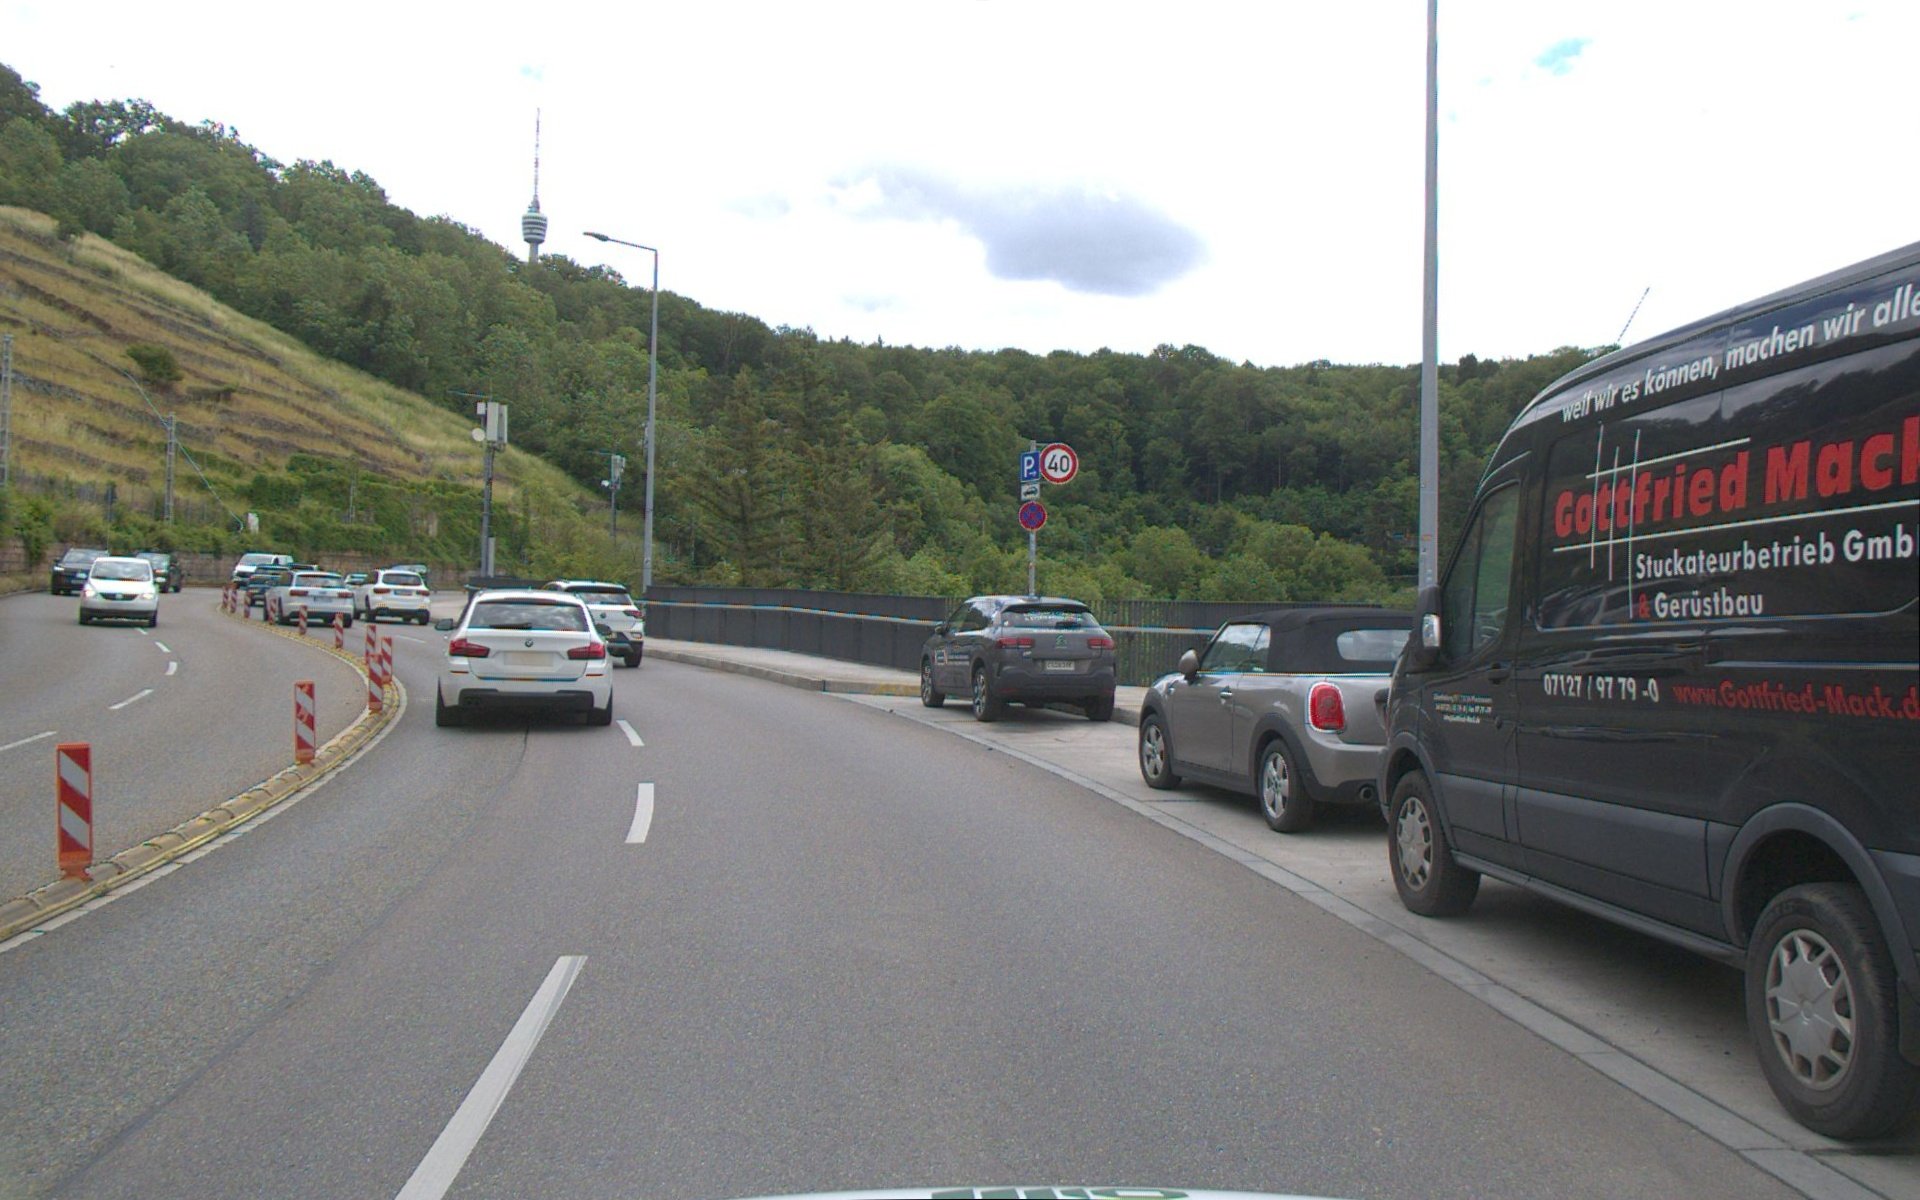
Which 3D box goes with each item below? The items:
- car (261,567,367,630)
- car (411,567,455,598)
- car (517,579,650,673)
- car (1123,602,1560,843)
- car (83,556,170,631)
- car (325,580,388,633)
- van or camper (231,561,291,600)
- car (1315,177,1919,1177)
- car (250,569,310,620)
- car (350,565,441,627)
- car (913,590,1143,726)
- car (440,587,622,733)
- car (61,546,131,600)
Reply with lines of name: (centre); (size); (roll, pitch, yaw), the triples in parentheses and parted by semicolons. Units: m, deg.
car: (-17.799, -0.024, 45.434); (1.973, 1.529, 4.618); (-1, -1, -31)
car: (-34.808, -1.151, 109.339); (1.833, 1.793, 3.996); (1, -3, -4)
car: (-7.280, 0.436, 31.741); (1.803, 1.633, 3.972); (-1, 1, -23)
car: (2.589, 0.756, 12.189); (1.684, 1.456, 3.838); (0, 0, -12)
car: (-19.814, -0.186, 39.434); (1.680, 1.575, 3.967); (3, 0, -26)
car: (-24.182, 0.260, 66.213); (1.969, 2.049, 3.966); (0, -1, -26)
van or camper: (-37.988, -1.053, 89.981); (2.110, 2.051, 4.948); (-1, 1, -13)
car: (3.327, 0.169, 6.481); (2.124, 2.565, 5.765); (-2, 0, -5)
car: (-25.544, -0.189, 62.089); (1.967, 1.677, 3.970); (-2, -1, -24)
car: (-17.707, -0.101, 51.796); (1.972, 1.748, 4.073); (-2, -1, -29)
car: (0.760, 0.681, 21.359); (1.843, 1.570, 4.074); (1, 0, -15)
car: (-4.994, 0.612, 19.138); (1.798, 1.485, 4.466); (0, 0, -16)
car: (-30.904, -0.931, 59.267); (1.818, 1.756, 4.430); (2, -1, -23)
